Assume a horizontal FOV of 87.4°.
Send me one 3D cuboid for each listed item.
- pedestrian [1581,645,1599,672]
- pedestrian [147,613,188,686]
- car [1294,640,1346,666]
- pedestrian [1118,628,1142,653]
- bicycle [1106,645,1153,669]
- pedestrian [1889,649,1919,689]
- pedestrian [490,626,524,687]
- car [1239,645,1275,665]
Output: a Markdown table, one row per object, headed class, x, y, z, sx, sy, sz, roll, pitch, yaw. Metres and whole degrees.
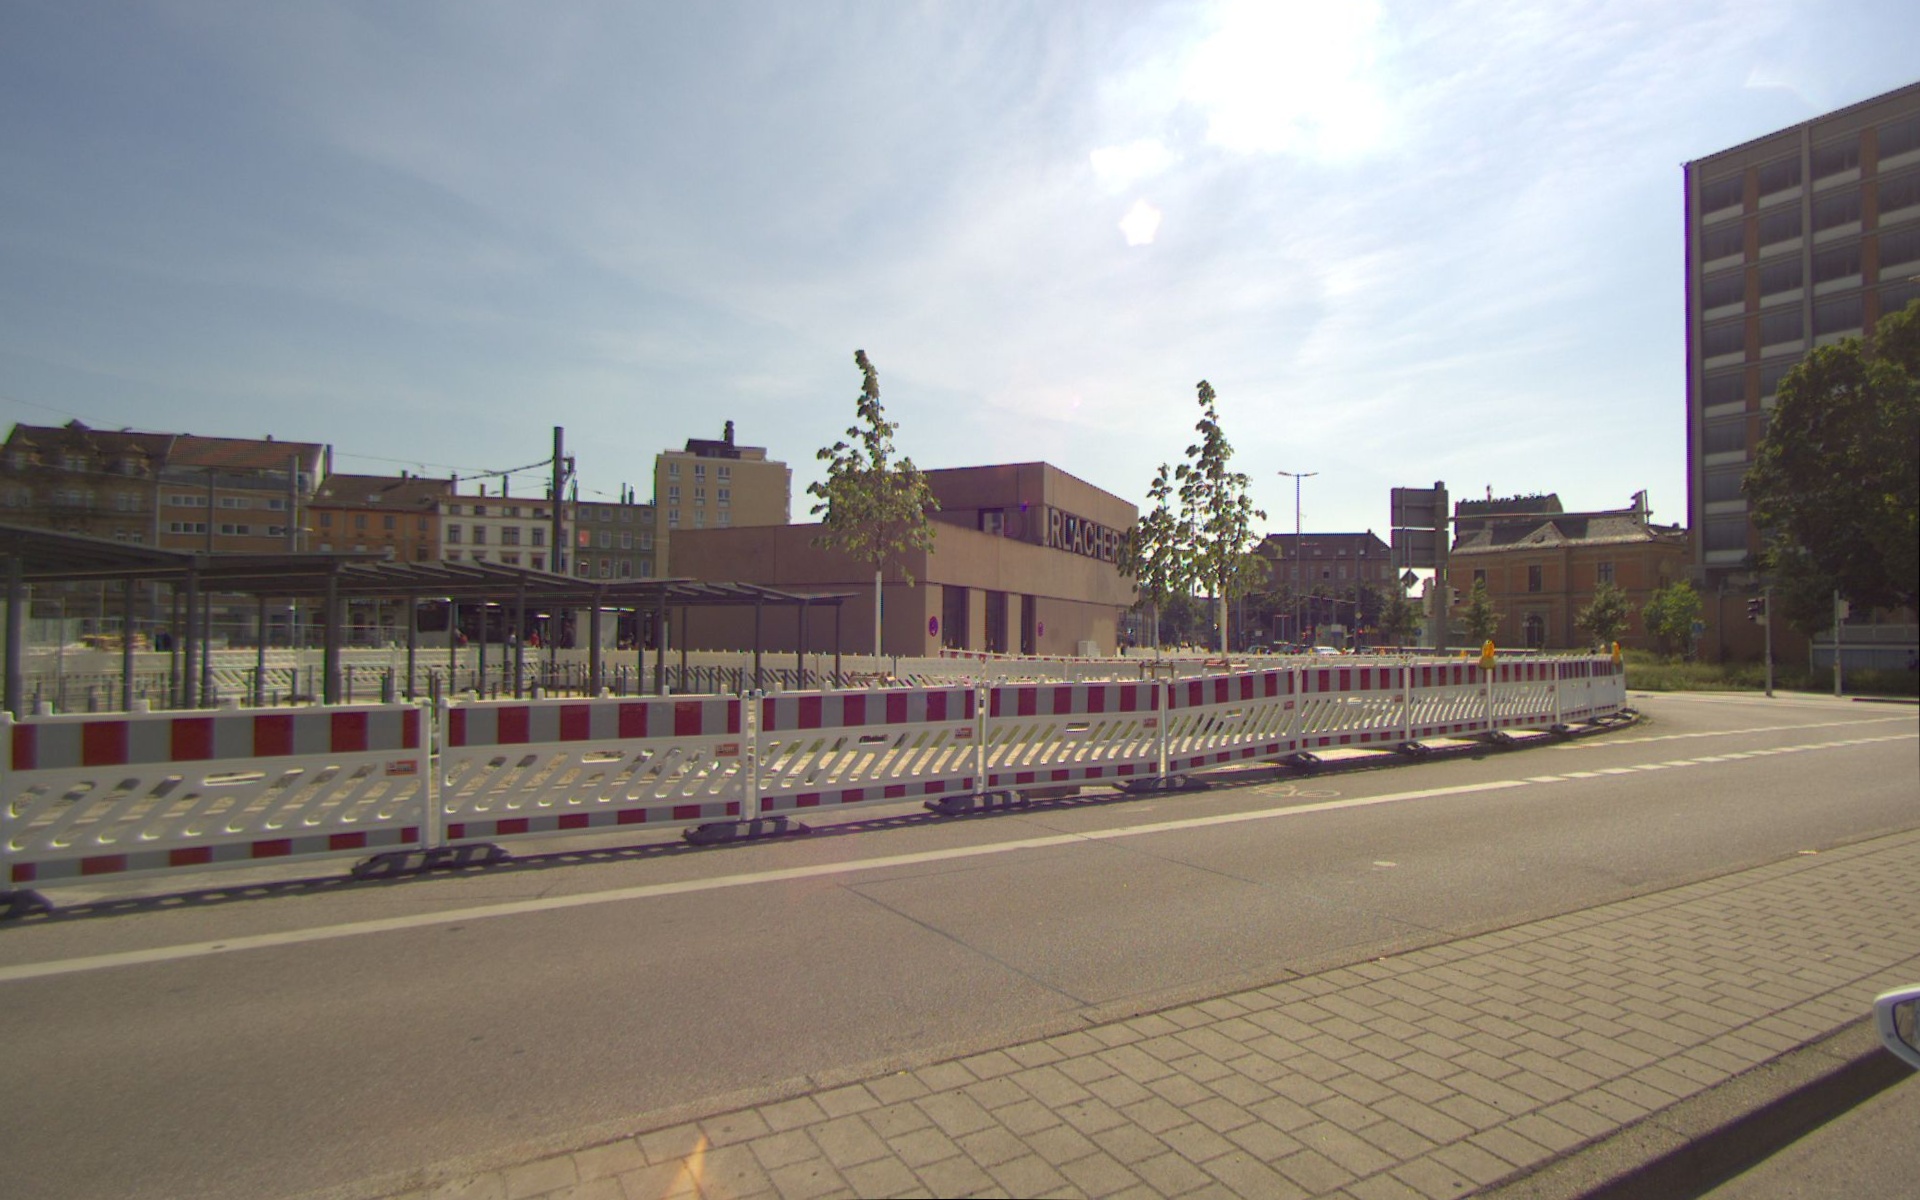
| class | x | y | z | sx | sy | sz | roll | pitch | yaw |
| --- | --- | --- | --- | --- | --- | --- | --- | --- | --- |
| pedestrian | 39.933 | 3.722 | 63.669 | 0.637 | 1.683 | 0.650 | 2 | 0 | -3 |
| pedestrian | -22.642 | 1.418 | 28.707 | 0.807 | 2.040 | 0.684 | -1 | -3 | 35 |
| car | 26.007 | 3.806 | 72.641 | 1.963 | 1.839 | 3.996 | 1 | -2 | -7 |
| pedestrian | 14.182 | 3.387 | 83.958 | 1.619 | 2.040 | 1.527 | 2 | 0 | -2 |
| bicycle | 14.145 | 4.775 | 83.943 | 3.672 | 1.803 | 1.498 | 2 | 0 | -1 |
| pedestrian | 41.838 | 3.034 | 44.345 | 0.857 | 1.748 | 0.799 | 1 | -2 | -7 |
| pedestrian | -12.205 | 1.519 | 27.067 | 0.563 | 1.602 | 0.615 | -1 | -2 | 24 |
| car | 23.689 | 4.364 | 80.219 | 1.764 | 1.530 | 4.001 | 1 | -2 | 1 |
